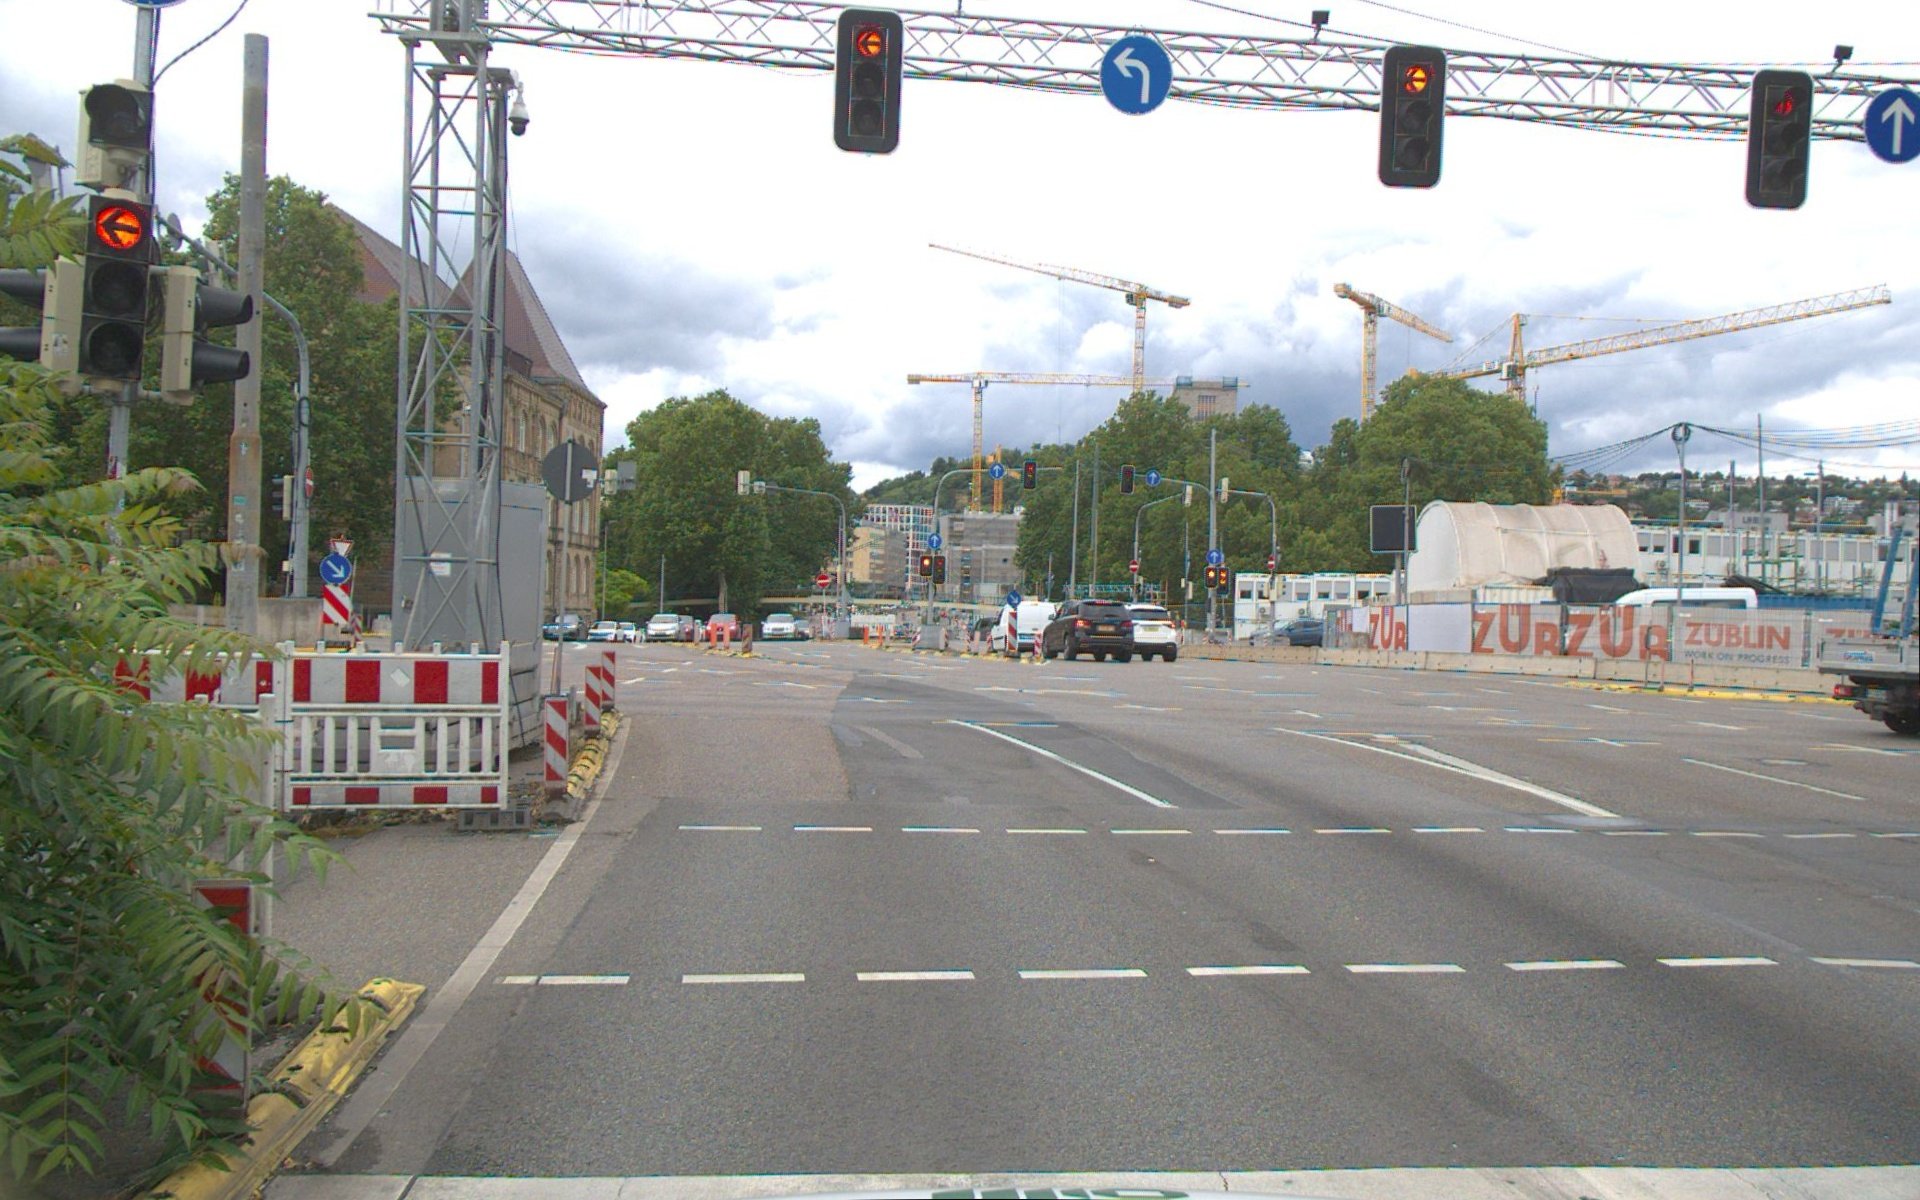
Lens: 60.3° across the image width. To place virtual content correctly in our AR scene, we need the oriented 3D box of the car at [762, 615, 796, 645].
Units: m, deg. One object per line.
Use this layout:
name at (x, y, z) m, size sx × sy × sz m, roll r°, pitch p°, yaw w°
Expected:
car at (-9.296, 1.531, 84.878) m, size 1.644 × 1.422 × 3.677 m, roll 1°, pitch 0°, yaw -7°

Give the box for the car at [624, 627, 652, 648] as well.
car at (-22.473, 2.603, 115.438) m, size 1.644 × 1.422 × 3.677 m, roll 1°, pitch 0°, yaw -7°

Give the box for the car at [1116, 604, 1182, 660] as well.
car at (6.038, 1.000, 53.128) m, size 1.642 × 1.732 × 3.374 m, roll 1°, pitch 0°, yaw -1°

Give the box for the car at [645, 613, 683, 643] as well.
car at (-15.257, 1.430, 85.379) m, size 1.644 × 1.422 × 3.677 m, roll 1°, pitch 0°, yaw -7°

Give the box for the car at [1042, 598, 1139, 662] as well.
car at (3.775, 0.843, 48.529) m, size 1.799 × 1.776 × 4.245 m, roll 1°, pitch 0°, yaw -10°

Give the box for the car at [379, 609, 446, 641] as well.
car at (-25.848, 1.165, 78.175) m, size 1.640 × 1.422 × 3.685 m, roll 1°, pitch 0°, yaw 6°

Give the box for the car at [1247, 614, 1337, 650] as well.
car at (16.097, 1.539, 80.179) m, size 3.927 × 1.653 × 1.812 m, roll 1°, pitch 0°, yaw -20°

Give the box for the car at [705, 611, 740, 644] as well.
car at (-12.125, 1.388, 84.518) m, size 1.644 × 1.608 × 3.677 m, roll 1°, pitch 0°, yaw -7°

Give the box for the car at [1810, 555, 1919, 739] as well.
car at (14.921, 0.653, 22.404) m, size 5.642 × 2.345 × 2.303 m, roll 1°, pitch 0°, yaw -1°

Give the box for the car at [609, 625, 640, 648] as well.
car at (-21.942, 2.354, 108.204) m, size 1.644 × 1.423 × 3.677 m, roll 1°, pitch -1°, yaw -7°

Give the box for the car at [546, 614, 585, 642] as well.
car at (-21.462, 1.498, 90.025) m, size 1.644 × 1.422 × 3.677 m, roll 1°, pitch 0°, yaw -7°

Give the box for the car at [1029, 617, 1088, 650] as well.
car at (4.510, 1.514, 76.038) m, size 1.650 × 1.422 × 3.070 m, roll 1°, pitch 0°, yaw -19°

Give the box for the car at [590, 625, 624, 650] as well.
car at (-21.505, 2.249, 100.898) m, size 1.644 × 1.422 × 3.677 m, roll 1°, pitch 0°, yaw -7°

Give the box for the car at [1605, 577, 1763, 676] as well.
car at (20.820, 0.747, 47.680) m, size 3.902 × 2.708 × 1.683 m, roll 1°, pitch 0°, yaw 13°

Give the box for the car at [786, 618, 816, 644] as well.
car at (-9.288, 1.798, 96.535) m, size 1.644 × 1.422 × 3.677 m, roll 1°, pitch 0°, yaw -7°

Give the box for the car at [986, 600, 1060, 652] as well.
car at (2.078, 0.854, 55.550) m, size 1.783 × 1.653 × 3.993 m, roll 1°, pitch 0°, yaw -8°

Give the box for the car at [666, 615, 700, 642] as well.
car at (-15.297, 1.559, 91.538) m, size 1.644 × 1.422 × 3.677 m, roll 1°, pitch 0°, yaw -7°
